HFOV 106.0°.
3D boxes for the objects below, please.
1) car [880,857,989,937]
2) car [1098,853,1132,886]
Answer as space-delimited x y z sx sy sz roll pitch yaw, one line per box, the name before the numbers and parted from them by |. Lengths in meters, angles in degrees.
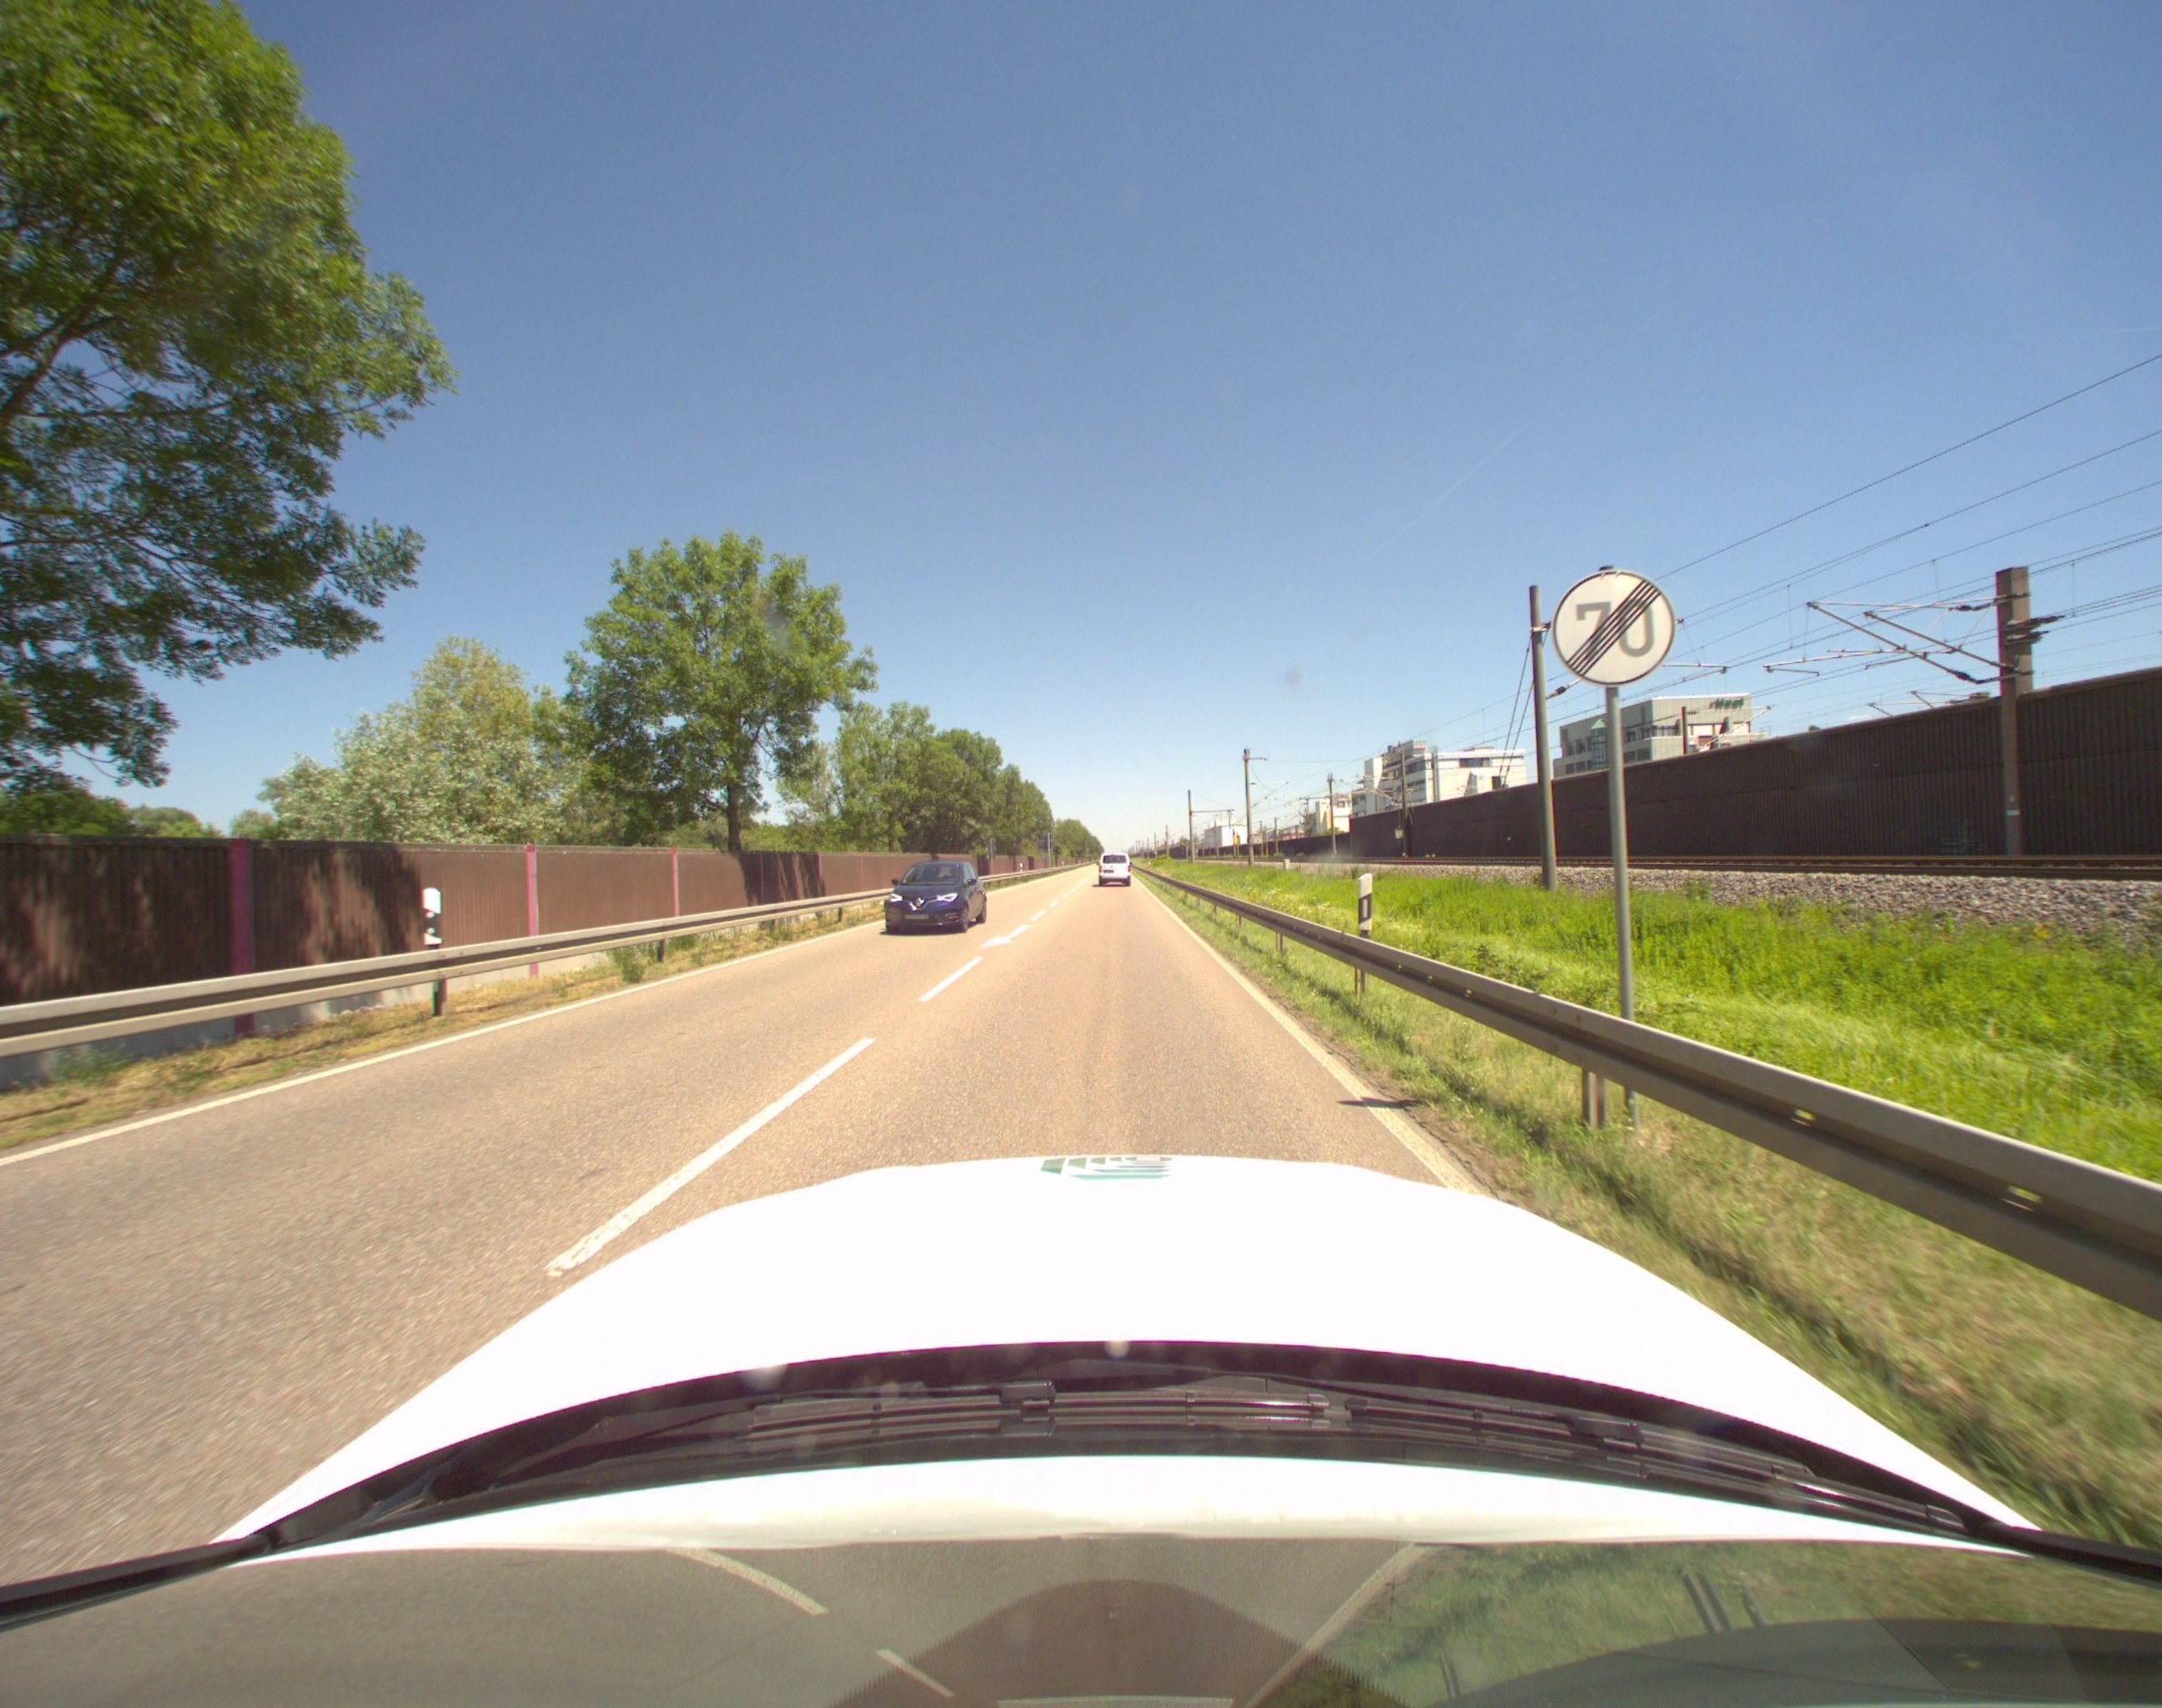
car | -3.249 0.897 18.734 1.616 1.577 3.765 -1 0 2
car | 2.027 0.905 48.530 1.938 1.881 4.883 -1 -1 2
